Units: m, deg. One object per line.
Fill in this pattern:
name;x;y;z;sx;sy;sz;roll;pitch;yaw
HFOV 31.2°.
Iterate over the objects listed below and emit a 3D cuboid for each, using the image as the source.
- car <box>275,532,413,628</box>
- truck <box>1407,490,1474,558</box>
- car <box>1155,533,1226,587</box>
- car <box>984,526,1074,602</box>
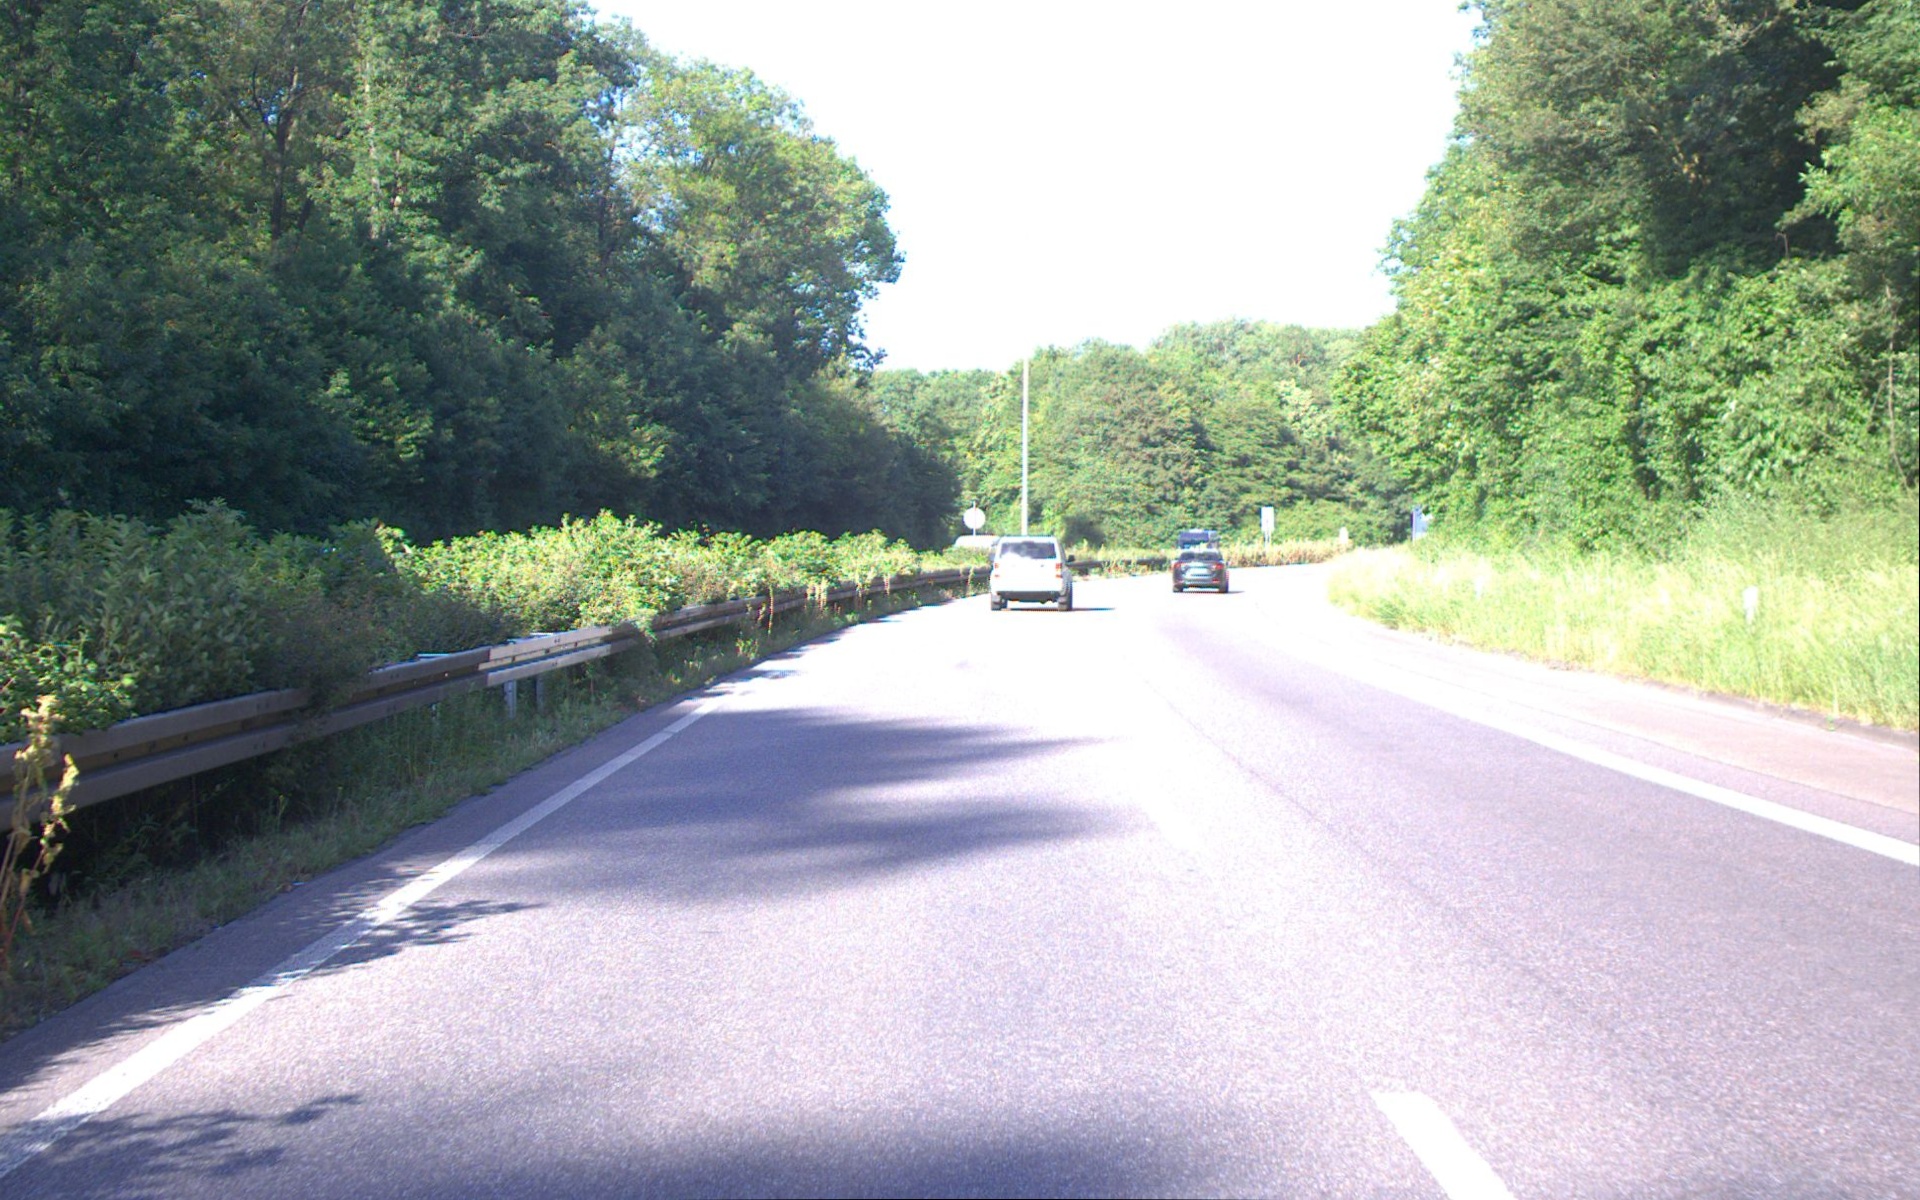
car;-12.300;-0.415;68.901;1.993;1.854;4.711;0;1;-1
truck;31.913;-4.997;228.127;3.736;4.328;9.299;1;1;12
car;7.792;-1.364;116.514;1.951;1.776;4.588;0;1;-2
car;1.631;-0.878;82.995;1.951;1.776;4.588;0;1;-2
